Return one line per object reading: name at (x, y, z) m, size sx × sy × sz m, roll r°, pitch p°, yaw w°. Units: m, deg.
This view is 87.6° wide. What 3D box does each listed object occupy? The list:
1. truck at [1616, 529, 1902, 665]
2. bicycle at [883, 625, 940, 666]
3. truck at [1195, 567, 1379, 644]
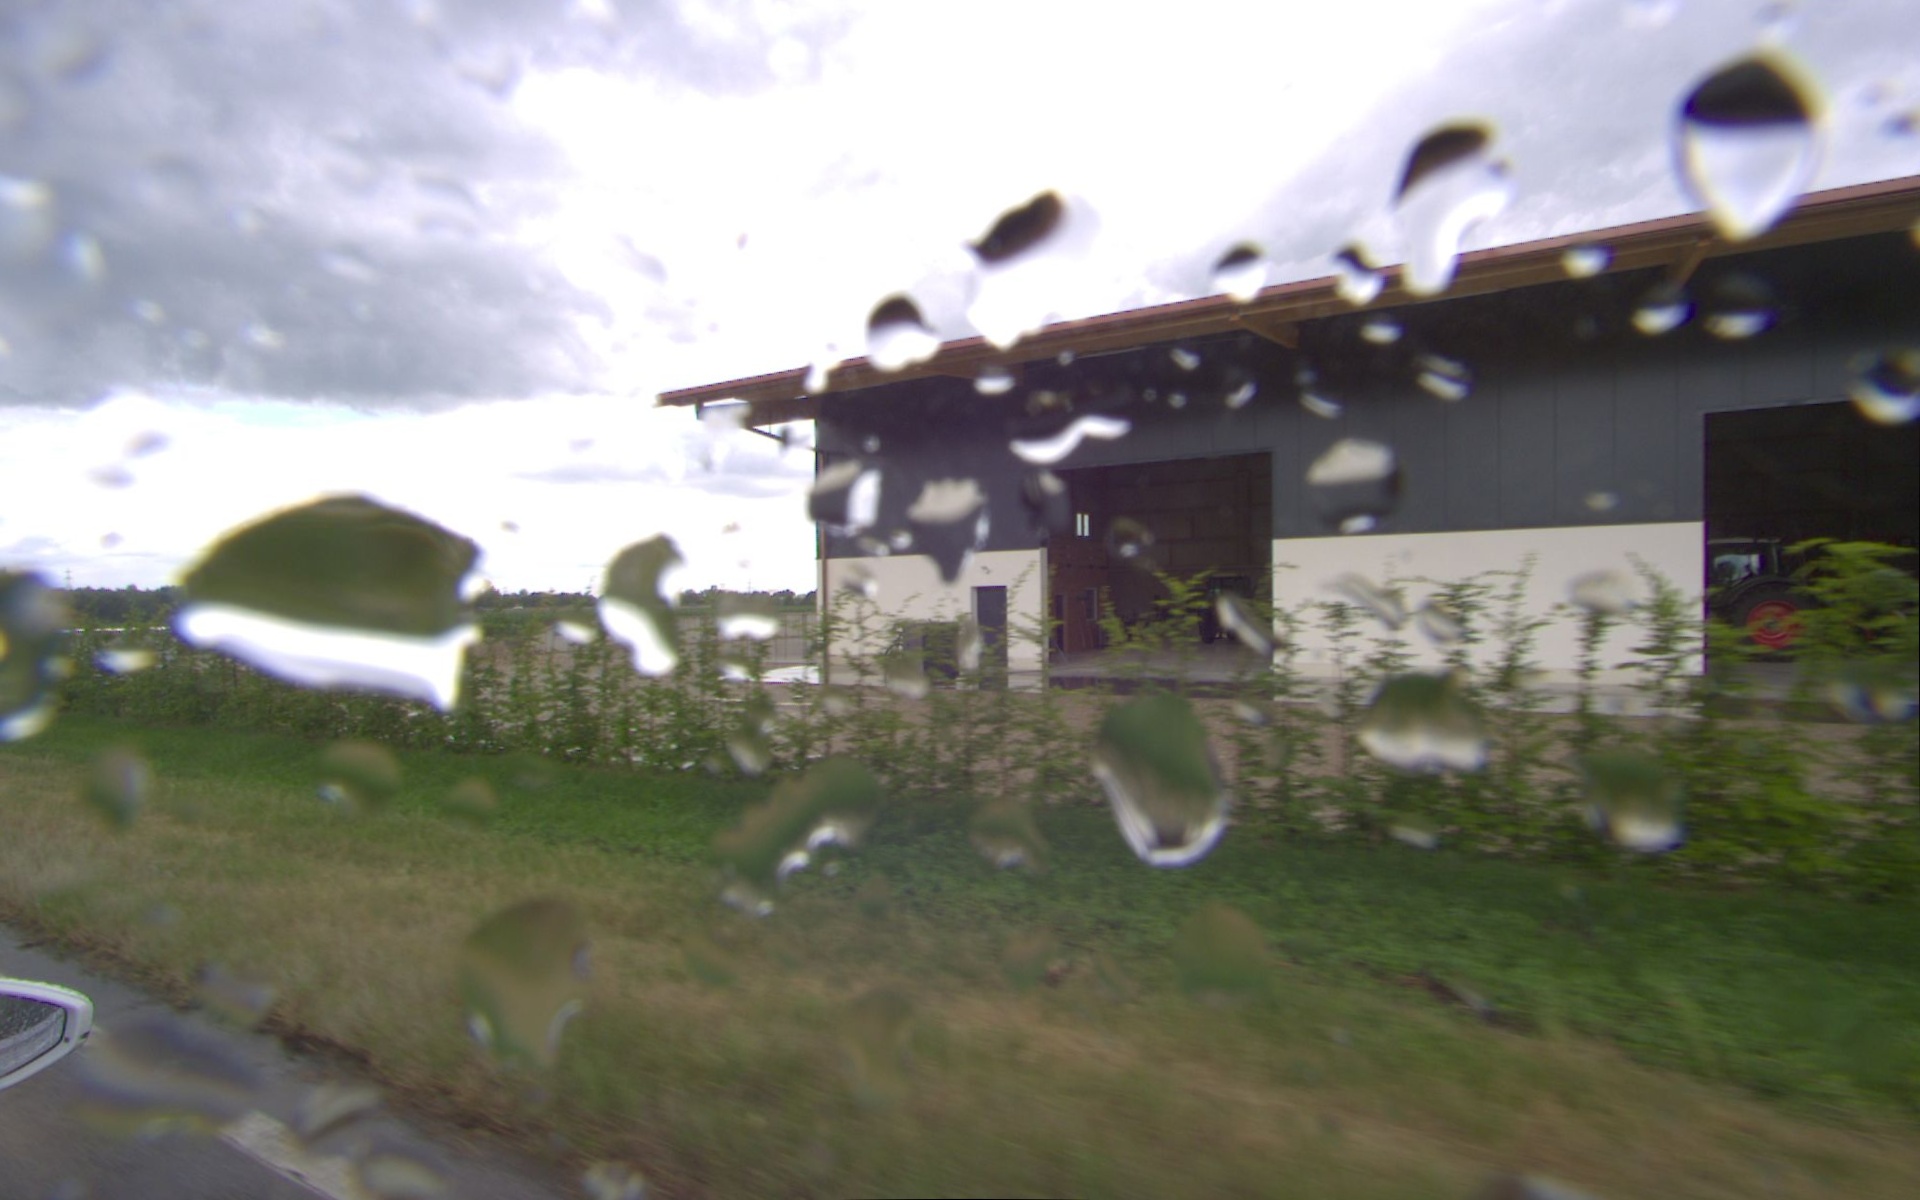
truck at (19.498, -0.044, 24.880) m, size 5.267 × 3.053 × 2.485 m, roll -1°, pitch 1°, yaw 32°
bicycle at (-1.349, 1.235, 27.620) m, size 1.637 × 1.086 × 0.389 m, roll -1°, pitch 1°, yaw 32°
truck at (11.854, 0.225, 36.478) m, size 6.068 × 2.642 × 2.113 m, roll -1°, pitch 0°, yaw 32°
